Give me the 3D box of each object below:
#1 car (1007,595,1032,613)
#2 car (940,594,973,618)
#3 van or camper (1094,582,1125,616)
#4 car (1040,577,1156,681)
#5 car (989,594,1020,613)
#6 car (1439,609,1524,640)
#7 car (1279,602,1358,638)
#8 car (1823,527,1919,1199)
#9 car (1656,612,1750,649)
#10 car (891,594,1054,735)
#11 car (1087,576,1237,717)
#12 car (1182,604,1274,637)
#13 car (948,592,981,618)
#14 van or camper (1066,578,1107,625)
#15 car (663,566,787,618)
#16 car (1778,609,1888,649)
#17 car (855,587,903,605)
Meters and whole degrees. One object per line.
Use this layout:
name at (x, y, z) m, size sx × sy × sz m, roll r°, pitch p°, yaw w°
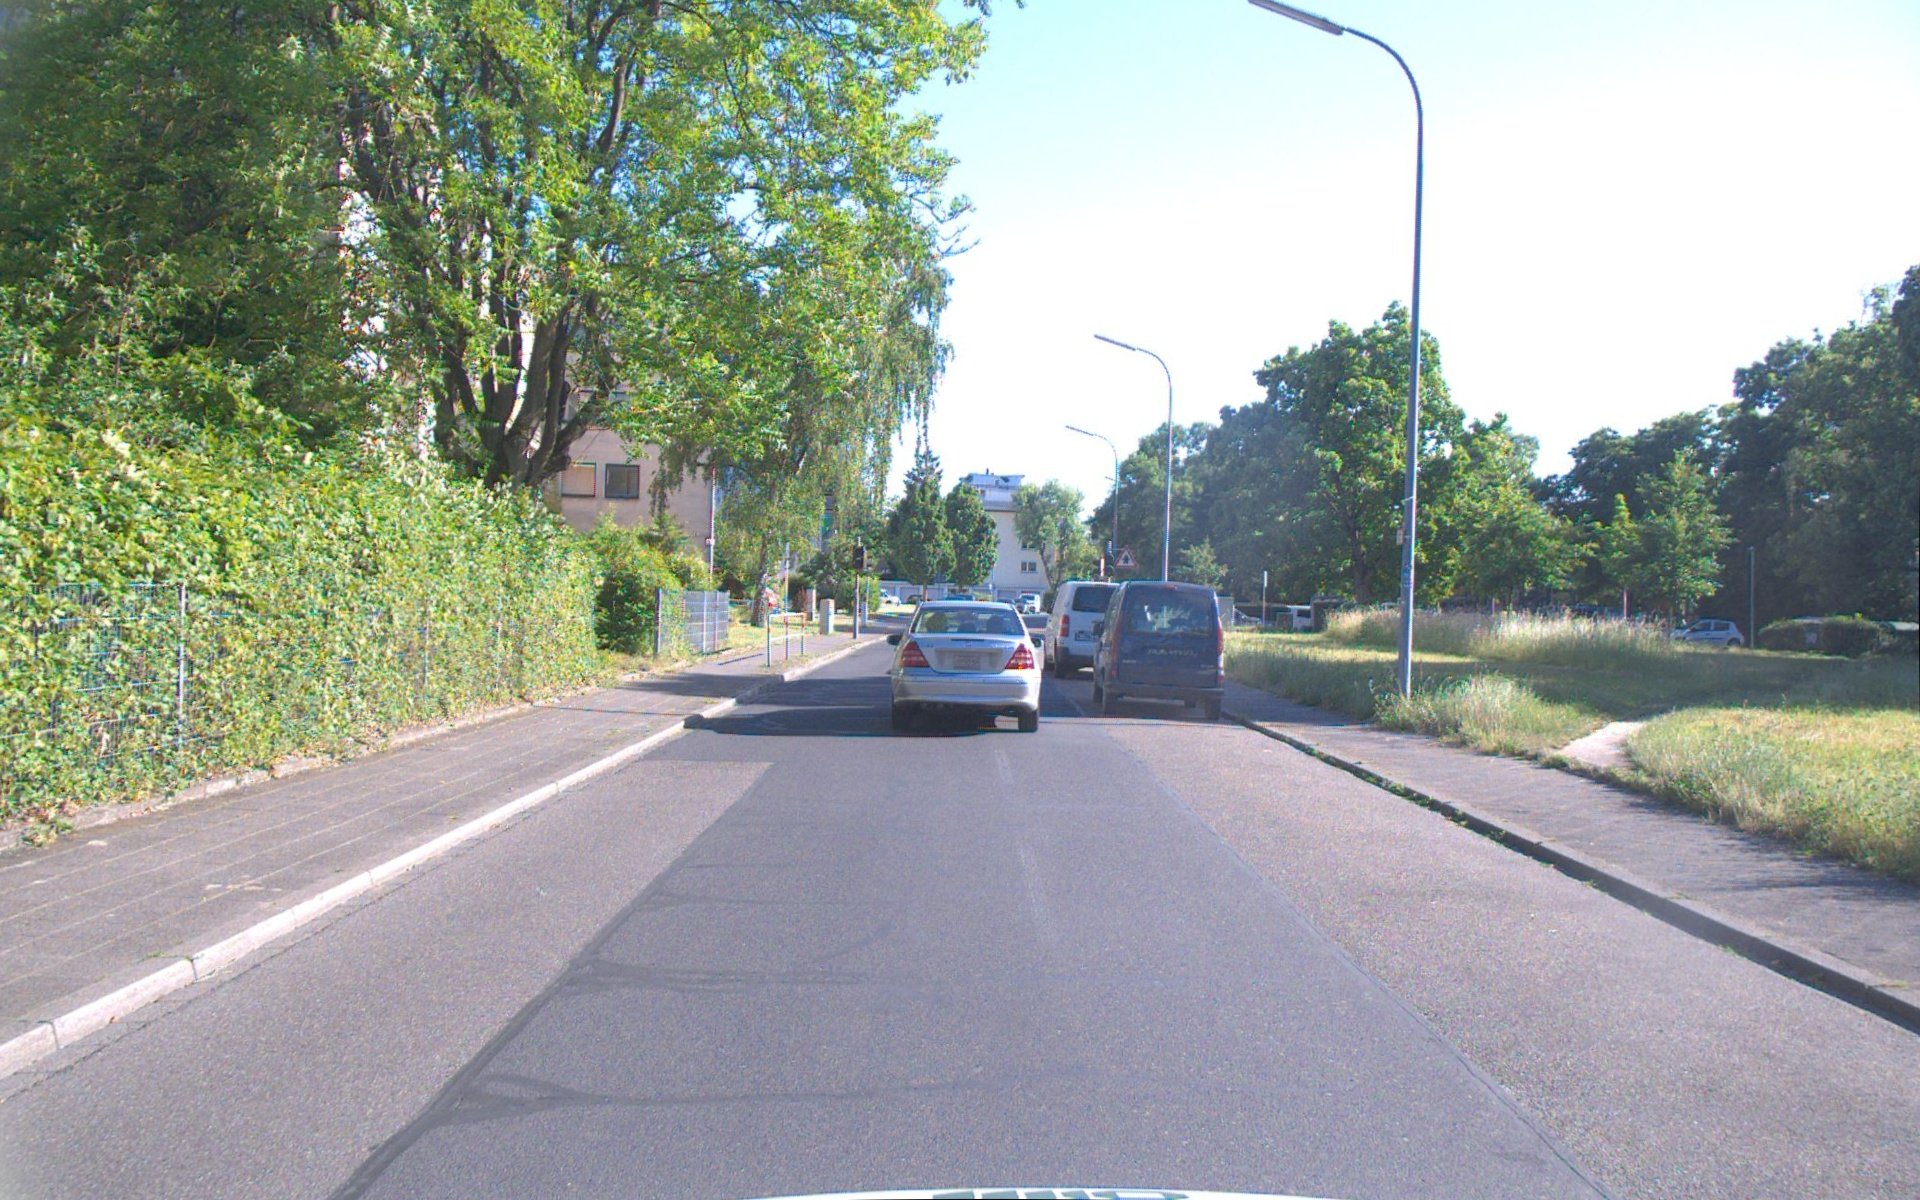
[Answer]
car at (5.630, 0.396, 156.521) m, size 1.794 × 1.544 × 4.225 m, roll 3°, pitch 0°, yaw 9°
car at (-0.204, 0.367, 108.933) m, size 1.612 × 1.492 × 4.333 m, roll 2°, pitch 0°, yaw 6°
van or camper at (13.493, -0.105, 149.091) m, size 2.443 × 2.895 × 6.856 m, roll 1°, pitch 0°, yaw 7°
car at (2.754, 0.548, 34.022) m, size 1.876 × 1.904 × 4.865 m, roll 3°, pitch 0°, yaw 0°
car at (3.885, 0.313, 143.804) m, size 1.992 × 1.518 × 5.260 m, roll 4°, pitch 1°, yaw 8°
car at (26.417, 1.232, 83.856) m, size 3.783 × 1.421 × 1.789 m, roll 2°, pitch 2°, yaw 7°
car at (17.255, 0.940, 79.713) m, size 3.606 × 1.605 × 1.830 m, roll 2°, pitch 0°, yaw 11°
car at (2.990, 0.742, 1.563) m, size 1.802 × 1.680 × 4.466 m, roll 3°, pitch 0°, yaw -3°
car at (36.942, 1.505, 82.303) m, size 3.784 × 1.639 × 2.001 m, roll 2°, pitch 0°, yaw 5°
car at (0.098, 0.685, 19.277) m, size 1.698 × 1.459 × 3.437 m, roll 1°, pitch 0°, yaw -1°
car at (2.779, 0.594, 23.529) m, size 1.663 × 1.760 × 4.084 m, roll 3°, pitch 0°, yaw 1°
car at (12.978, 0.981, 80.267) m, size 4.331 × 1.360 × 1.747 m, roll 2°, pitch 2°, yaw 8°
car at (0.336, 0.312, 115.202) m, size 1.874 × 1.631 × 4.815 m, roll 4°, pitch 1°, yaw 4°
van or camper at (7.627, 0.097, 99.431) m, size 2.302 × 2.642 × 6.429 m, roll -1°, pitch 0°, yaw 5°
car at (-11.674, -0.415, 82.498) m, size 5.781 × 2.471 × 2.214 m, roll 1°, pitch 1°, yaw 2°
car at (42.533, 1.398, 80.664) m, size 4.359 × 1.839 × 2.002 m, roll 1°, pitch 0°, yaw 11°
car at (-9.212, -0.453, 187.888) m, size 4.998 × 1.985 × 2.238 m, roll 1°, pitch 0°, yaw 16°
